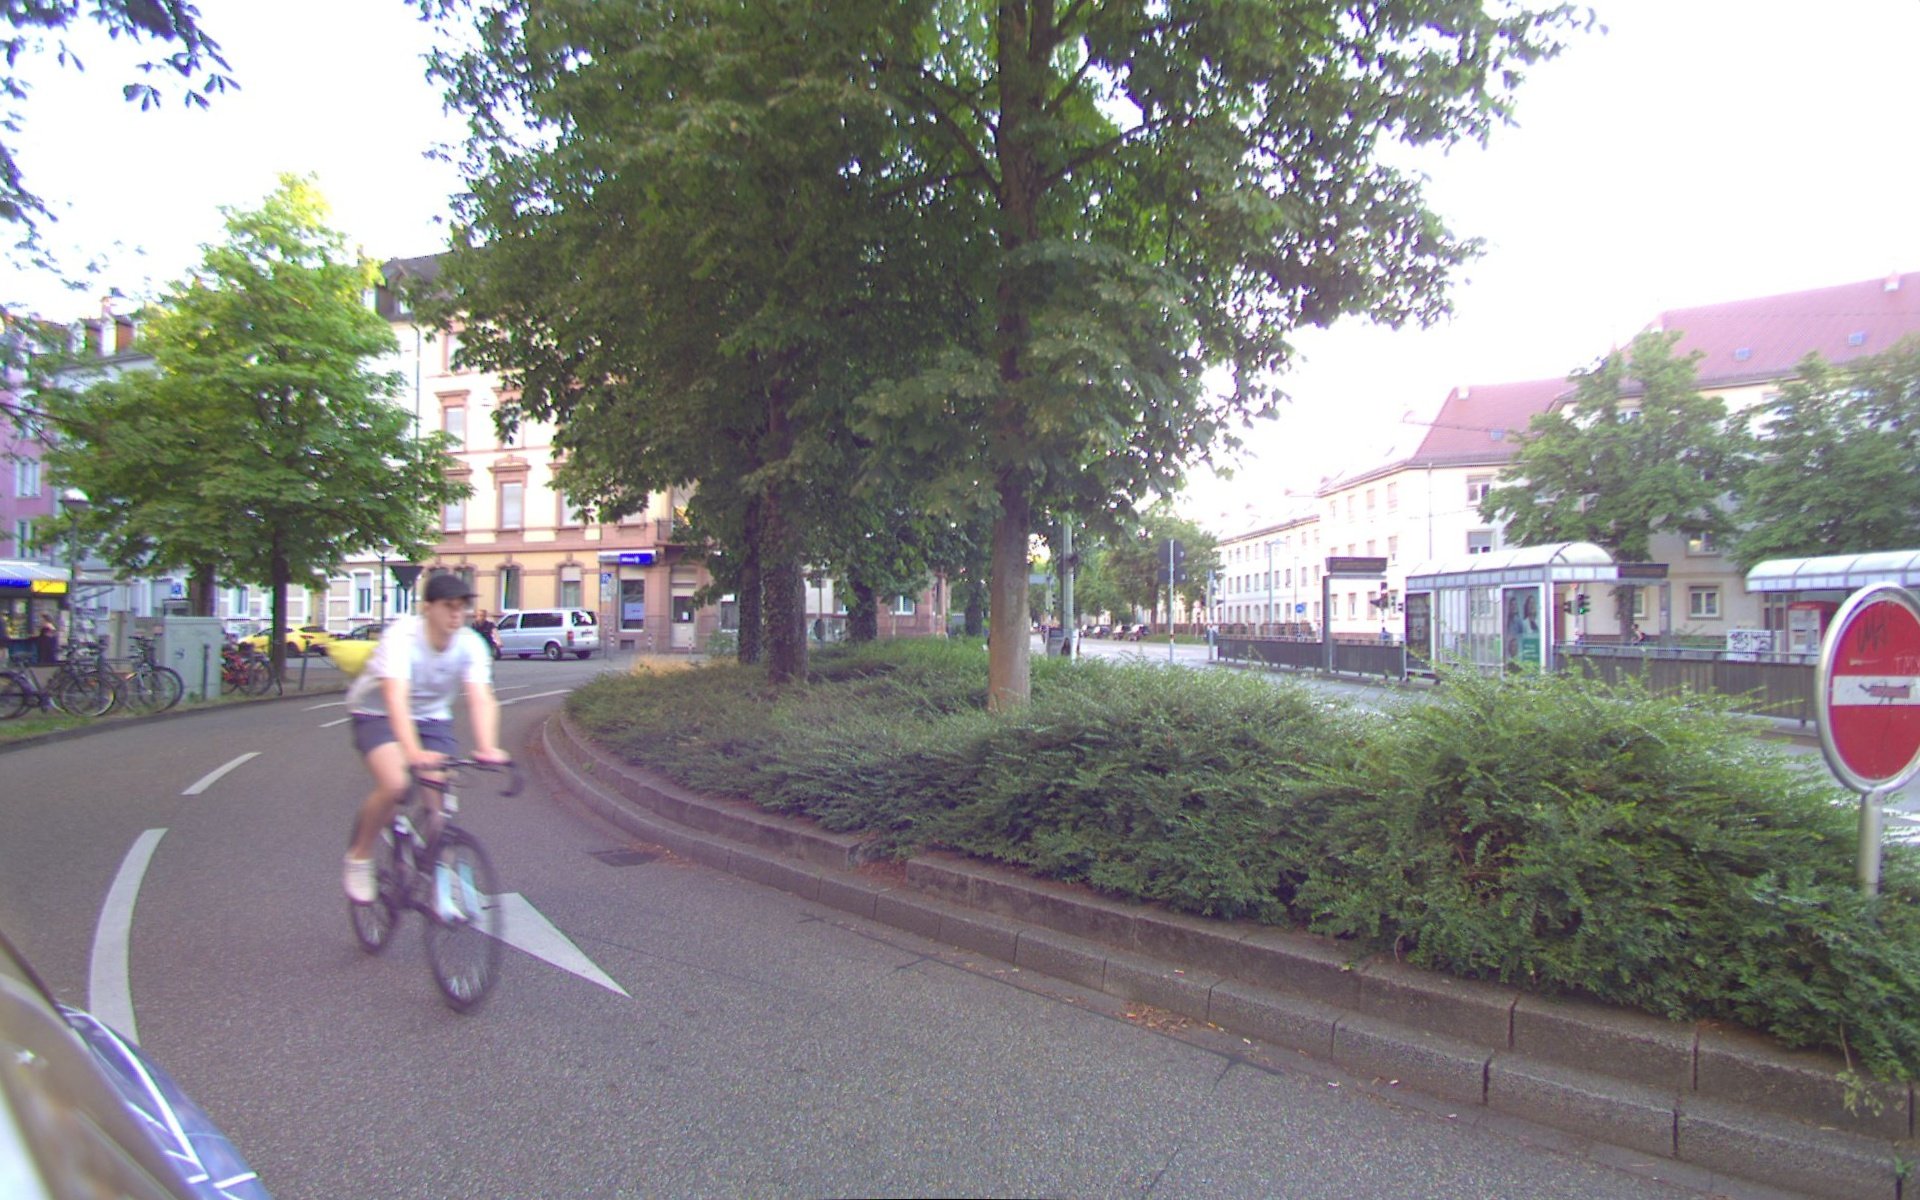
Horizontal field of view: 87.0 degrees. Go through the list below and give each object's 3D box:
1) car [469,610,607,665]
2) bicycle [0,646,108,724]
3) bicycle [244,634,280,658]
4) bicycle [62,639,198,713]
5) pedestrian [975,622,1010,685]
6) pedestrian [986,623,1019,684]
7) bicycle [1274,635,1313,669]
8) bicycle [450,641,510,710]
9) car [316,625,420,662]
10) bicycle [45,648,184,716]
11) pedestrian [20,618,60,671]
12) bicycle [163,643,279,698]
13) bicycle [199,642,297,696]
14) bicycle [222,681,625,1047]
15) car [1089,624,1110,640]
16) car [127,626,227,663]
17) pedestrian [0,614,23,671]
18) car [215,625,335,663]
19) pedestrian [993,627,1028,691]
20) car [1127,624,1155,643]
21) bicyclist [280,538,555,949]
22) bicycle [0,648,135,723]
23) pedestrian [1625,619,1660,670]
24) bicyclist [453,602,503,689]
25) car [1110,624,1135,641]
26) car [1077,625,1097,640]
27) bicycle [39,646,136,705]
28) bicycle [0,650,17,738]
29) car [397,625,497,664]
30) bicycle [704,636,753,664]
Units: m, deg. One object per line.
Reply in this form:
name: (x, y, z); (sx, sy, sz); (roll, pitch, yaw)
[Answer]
car: (-16.591, 1.451, 39.812); (4.967, 2.072, 2.034); (-1, 0, 20)
bicycle: (-13.323, 1.212, 14.553); (1.580, 1.084, 0.420); (1, -2, -18)
bicycle: (-34.240, 2.250, 49.663); (1.850, 1.149, 0.478); (-1, -2, 21)
bicycle: (-13.365, 1.215, 16.336); (1.581, 1.157, 0.556); (1, -2, -14)
pedestrian: (0.772, 1.244, 23.732); (0.650, 1.442, 0.614); (-1, -2, 20)
pedestrian: (1.028, 1.289, 24.406); (0.650, 1.442, 0.614); (-1, -2, 20)
bicycle: (10.528, 1.624, 32.028); (0.538, 1.059, 1.856); (0, -2, -3)
bicycle: (-8.672, 1.325, 18.241); (0.675, 1.160, 2.120); (1, -2, -34)
car: (-25.026, 1.829, 42.833); (3.708, 1.502, 1.726); (-1, 0, 16)
bicycle: (-13.254, 1.275, 15.904); (1.581, 1.028, 0.556); (1, -2, -14)
pedestrian: (-27.557, 1.328, 30.316); (0.581, 1.551, 0.680); (0, -2, -11)
bicycle: (-14.269, 1.356, 19.556); (1.872, 1.047, 0.432); (0, -2, -1)
bicycle: (-14.016, 1.359, 19.935); (1.584, 1.047, 0.432); (0, -2, -1)
bicycle: (-2.372, 0.968, 4.348); (2.111, 1.160, 0.678); (-2, -2, 36)
car: (16.922, 3.857, 122.791); (1.882, 1.864, 4.002); (0, -2, -3)
car: (-36.197, 2.051, 46.795); (4.115, 1.605, 1.793); (-1, 0, 21)
pedestrian: (-27.962, 1.238, 29.540); (0.581, 1.650, 0.680); (0, -2, -11)
car: (-30.179, 1.944, 44.617); (4.760, 1.537, 1.834); (-1, 0, 17)
pedestrian: (1.151, 1.336, 23.084); (0.650, 1.442, 0.614); (-1, -2, 20)
car: (18.225, 3.326, 102.062); (1.882, 1.864, 4.002); (0, -2, -3)
bicyclist: (-2.323, 0.549, 4.334); (0.971, 1.524, 0.678); (-2, -3, 36)
bicycle: (-13.265, 1.250, 14.969); (1.580, 1.071, 0.420); (1, -2, -18)
pedestrian: (28.598, 1.842, 42.421); (1.060, 2.101, 0.999); (-1, -2, 43)
bicyclist: (-8.756, 0.817, 18.388); (0.675, 1.524, 0.975); (1, -2, -34)
car: (17.748, 3.553, 110.952); (1.882, 1.864, 4.002); (0, -2, -3)
car: (16.526, 4.241, 132.078); (1.882, 1.864, 4.002); (0, -2, -3)
bicycle: (-15.443, 1.314, 17.958); (0.425, 0.976, 1.730); (0, -2, -9)
bicycle: (-12.586, 1.146, 12.168); (1.765, 1.071, 0.449); (1, -2, -22)
car: (-21.167, 1.811, 41.757); (3.584, 1.502, 1.679); (-1, 0, 19)
bicycle: (-9.064, 1.949, 39.655); (1.776, 1.091, 0.559); (0, -1, 7)
